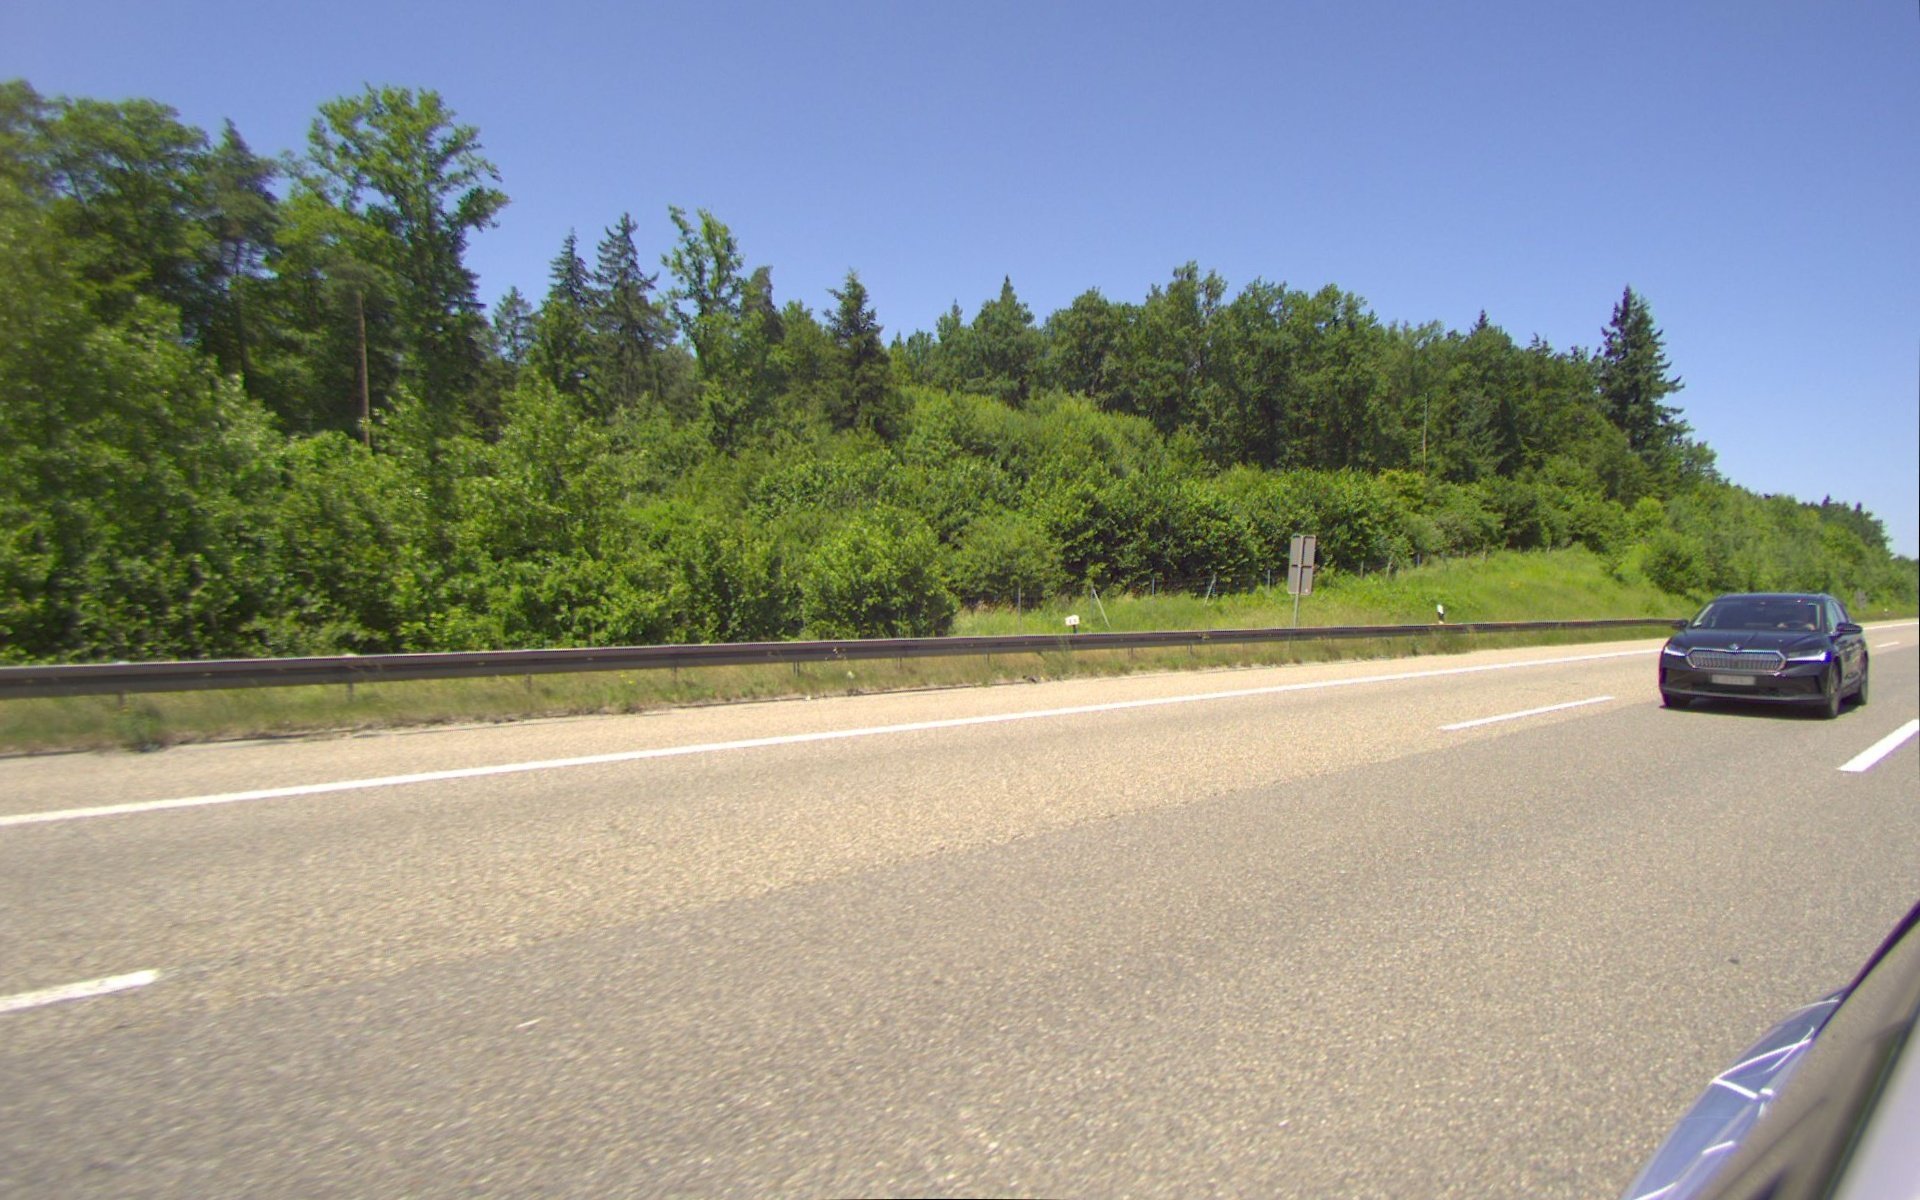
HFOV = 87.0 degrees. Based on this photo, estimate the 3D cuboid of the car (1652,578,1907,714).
[{"bbox_3d":[11.725,0.579,14.388,4.377,1.640,1.989,1,-1,-39],"label":"car"}]
